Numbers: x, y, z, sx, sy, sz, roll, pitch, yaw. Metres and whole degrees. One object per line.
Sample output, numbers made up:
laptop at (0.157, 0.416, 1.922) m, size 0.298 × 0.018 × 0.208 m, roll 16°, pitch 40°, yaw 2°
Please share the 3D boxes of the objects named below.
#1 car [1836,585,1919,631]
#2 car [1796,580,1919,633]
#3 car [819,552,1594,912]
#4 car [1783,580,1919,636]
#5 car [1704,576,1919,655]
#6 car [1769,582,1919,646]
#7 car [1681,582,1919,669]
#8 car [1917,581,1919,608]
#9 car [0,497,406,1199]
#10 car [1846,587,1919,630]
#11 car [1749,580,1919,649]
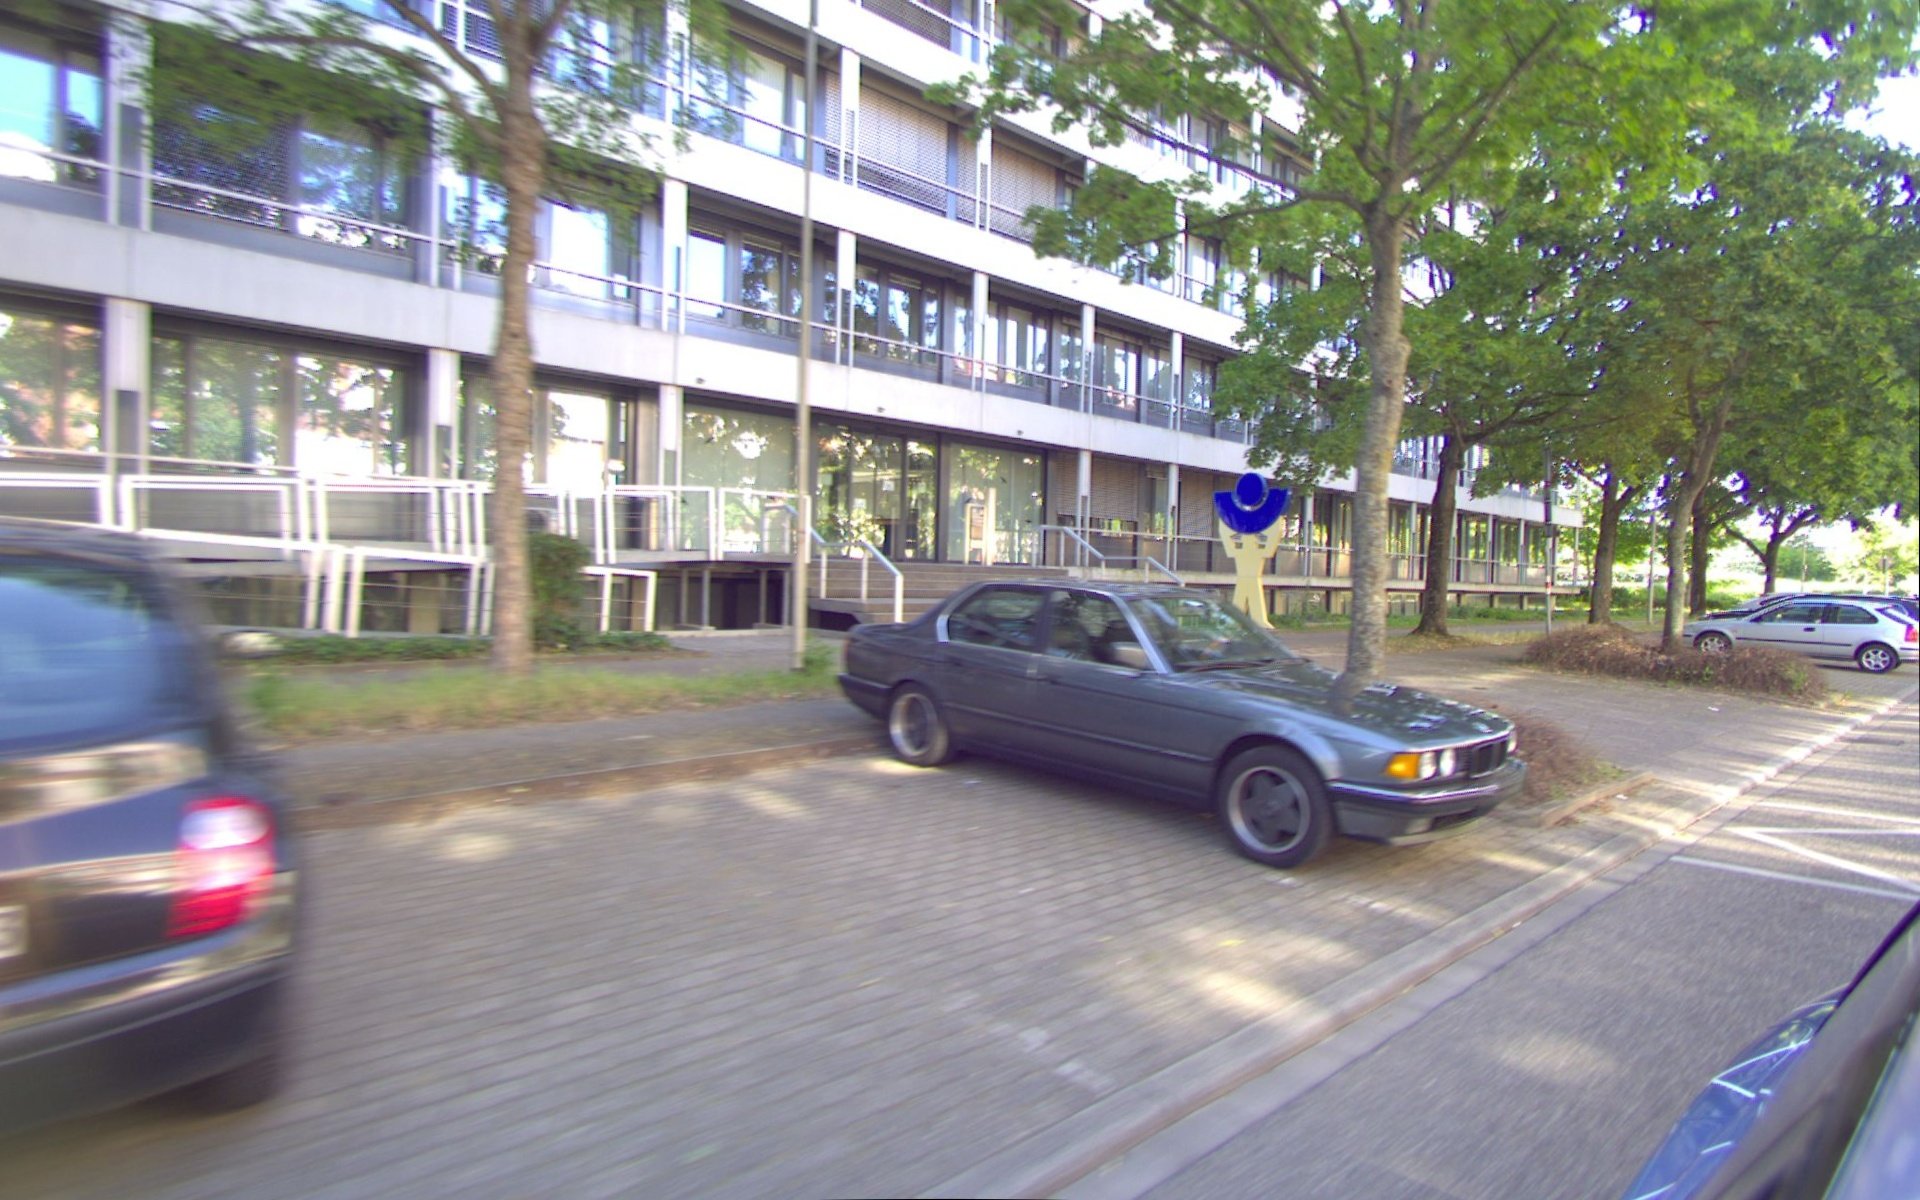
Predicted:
car at (33.832, 0.319, 35.865) m, size 1.886 × 1.464 × 3.851 m, roll 0°, pitch 4°, yaw -37°
car at (31.551, 0.237, 34.363) m, size 1.886 × 1.561 × 4.530 m, roll 0°, pitch 4°, yaw -37°
car at (1.256, 0.494, 6.924) m, size 1.997 × 1.437 × 4.833 m, roll 0°, pitch 4°, yaw -42°
car at (29.651, 0.258, 32.714) m, size 1.891 × 1.561 × 4.520 m, roll 0°, pitch 4°, yaw -45°
car at (21.060, 0.326, 24.496) m, size 1.733 × 1.511 × 4.599 m, roll 0°, pitch 5°, yaw -43°
car at (24.940, 0.352, 28.037) m, size 3.746 × 1.511 × 1.591 m, roll 5°, pitch 4°, yaw 45°
car at (17.546, 0.451, 20.905) m, size 1.680 × 1.437 × 3.979 m, roll 0°, pitch 4°, yaw -41°
car at (55.929, -0.161, 56.067) m, size 1.671 × 1.532 × 3.959 m, roll -1°, pitch 5°, yaw -40°
car at (-3.134, 0.452, 3.117) m, size 1.781 × 1.533 × 3.650 m, roll 0°, pitch 4°, yaw -41°
car at (35.920, 0.355, 37.371) m, size 1.716 × 1.493 × 4.587 m, roll 0°, pitch 3°, yaw -41°
car at (23.431, 0.361, 26.354) m, size 1.971 × 1.511 × 4.290 m, roll 0°, pitch 4°, yaw -44°
